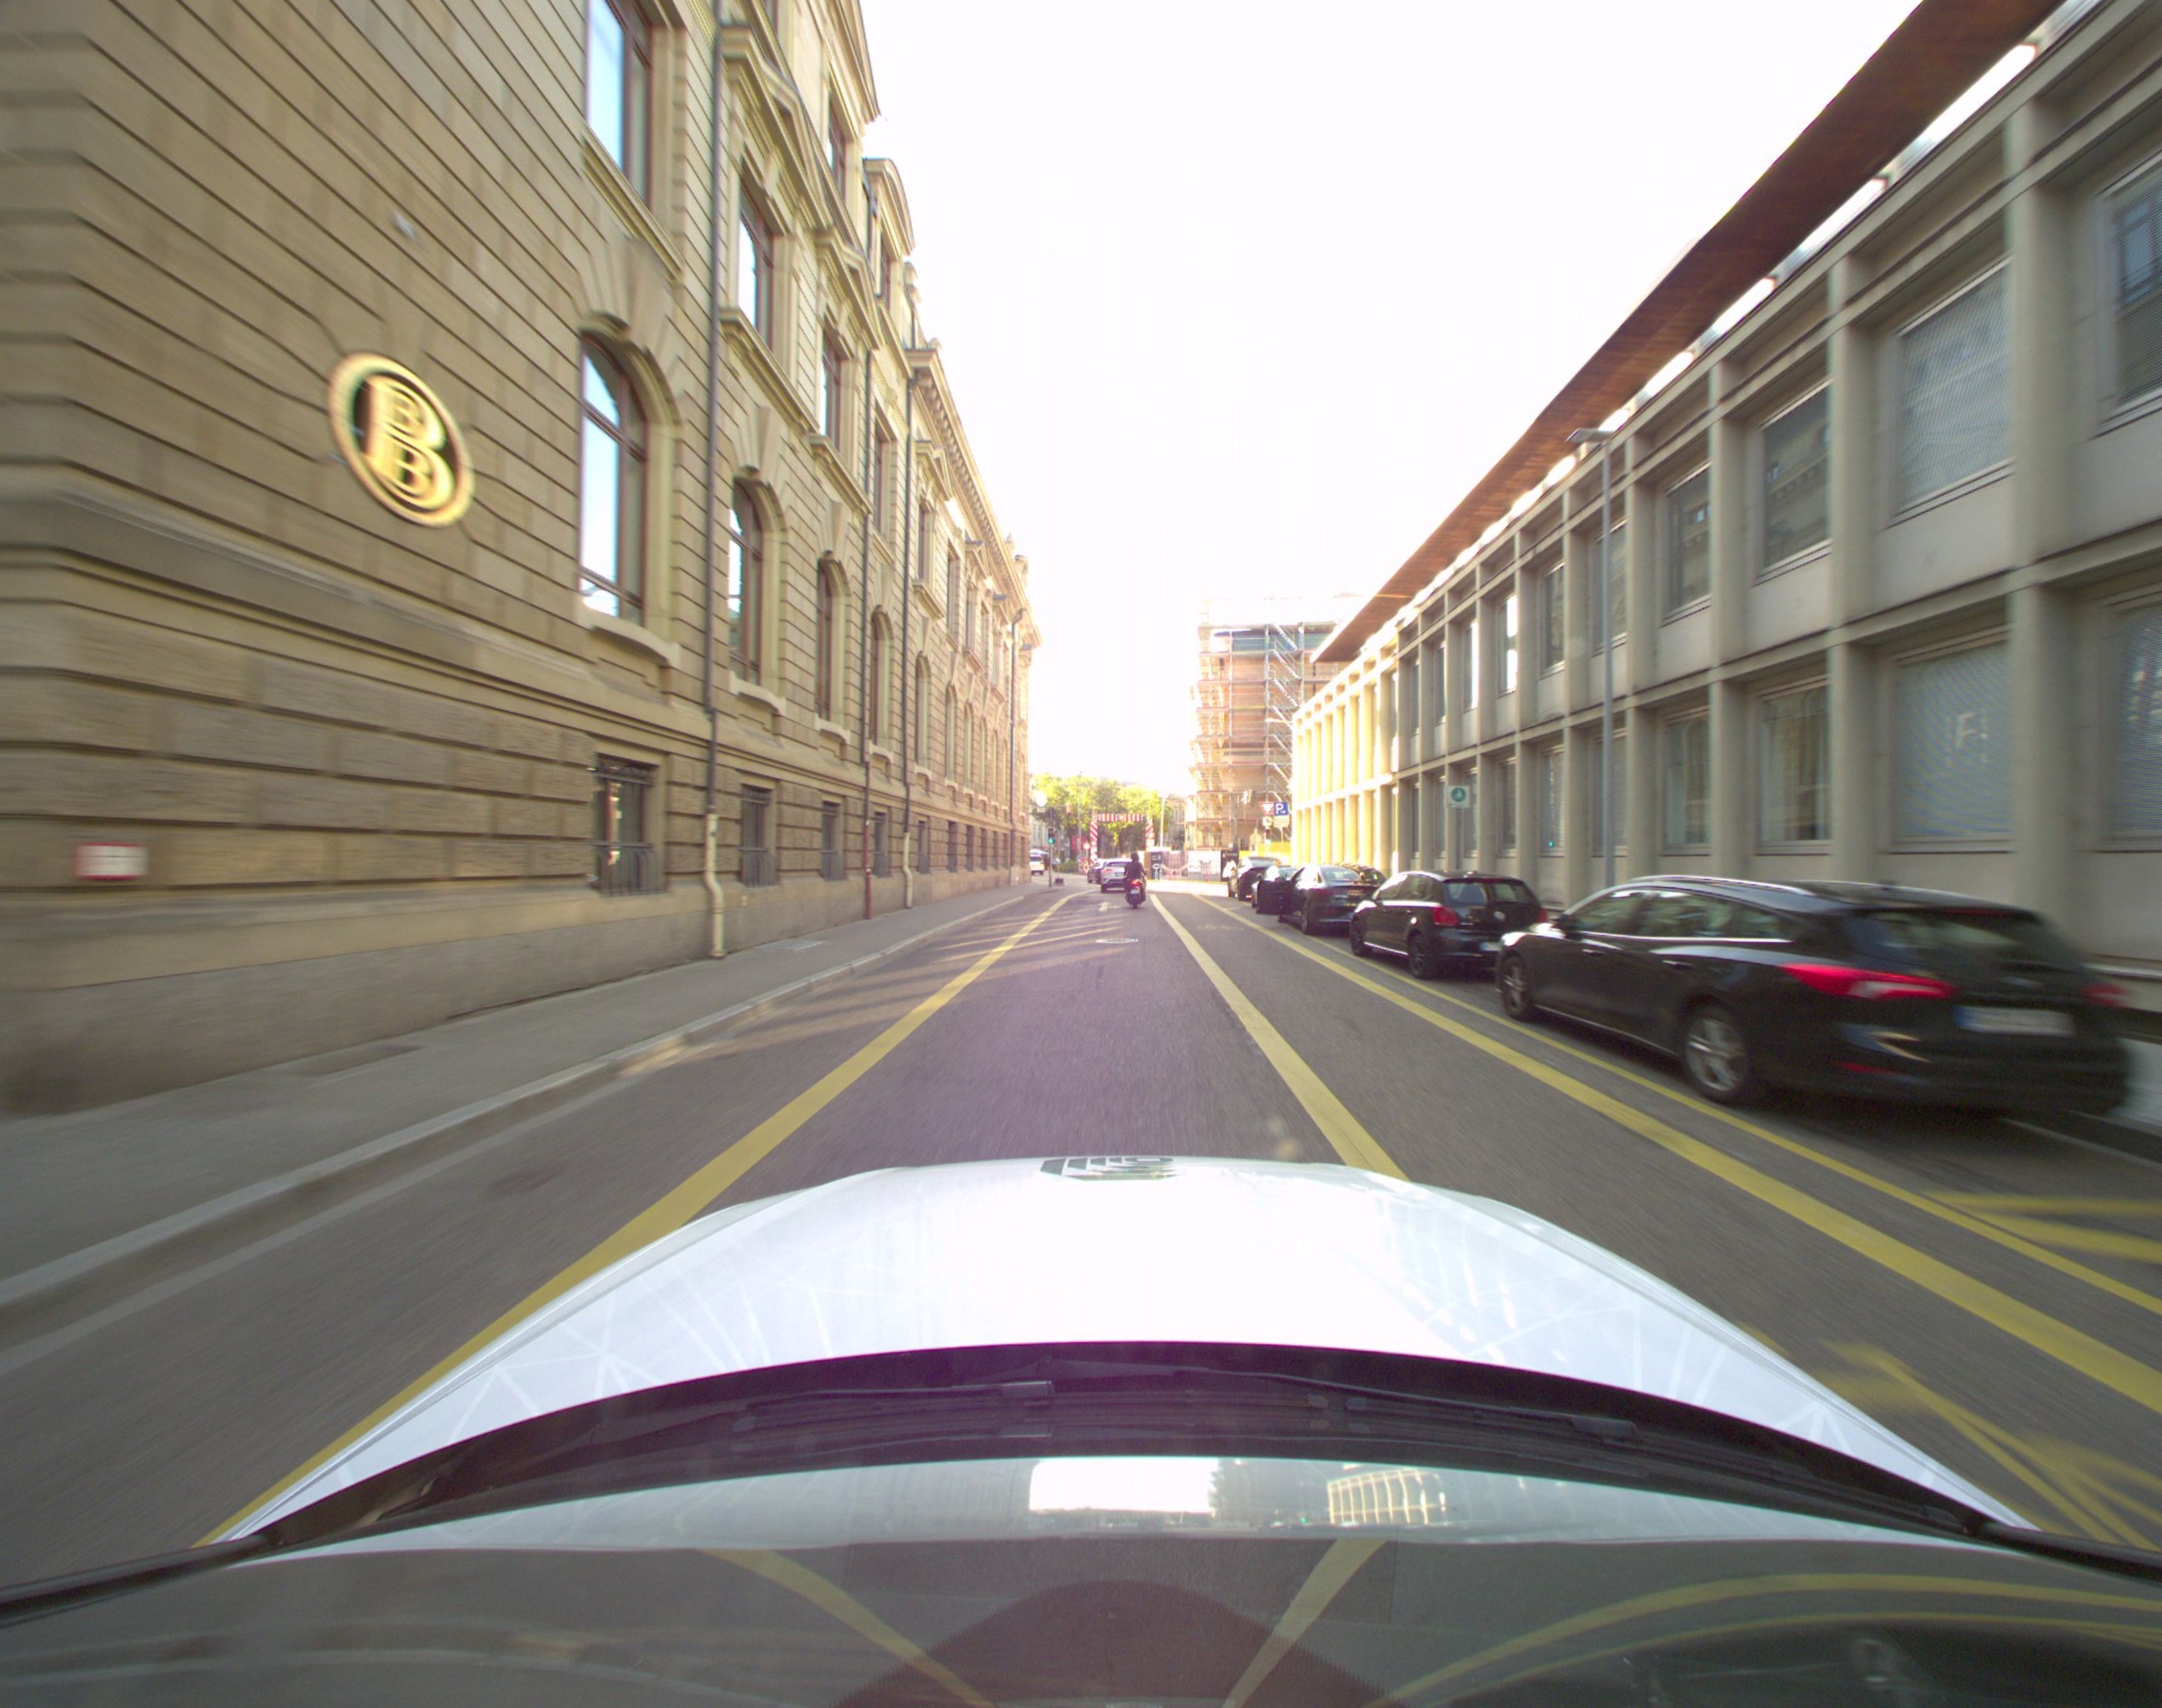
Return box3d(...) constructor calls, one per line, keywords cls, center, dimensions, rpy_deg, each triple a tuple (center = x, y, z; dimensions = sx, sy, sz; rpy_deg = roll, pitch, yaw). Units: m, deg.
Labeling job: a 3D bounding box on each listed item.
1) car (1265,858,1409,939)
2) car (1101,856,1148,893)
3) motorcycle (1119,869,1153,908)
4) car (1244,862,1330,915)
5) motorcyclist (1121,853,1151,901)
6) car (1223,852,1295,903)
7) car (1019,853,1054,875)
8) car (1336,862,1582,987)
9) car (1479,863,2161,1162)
box3d(cls="car", center=(5.462, 0.890, 18.029), dimensions=(1.817, 1.501, 4.738), rpy_deg=(1, -1, 2))
box3d(cls="car", center=(2.024, 0.889, 36.851), dimensions=(1.813, 1.542, 4.271), rpy_deg=(1, -1, 7))
box3d(cls="motorcycle", center=(1.656, 1.023, 24.664), dimensions=(0.870, 1.109, 1.838), rpy_deg=(-1, -1, -1))
box3d(cls="car", center=(6.144, 0.999, 24.767), dimensions=(1.816, 1.399, 4.485), rpy_deg=(1, -1, 5))
box3d(cls="motorcyclist", center=(1.654, 0.683, 24.677), dimensions=(0.865, 1.427, 0.455), rpy_deg=(0, -2, -2))
box3d(cls="car", center=(6.633, 0.808, 30.791), dimensions=(1.817, 1.699, 4.669), rpy_deg=(1, 0, 2))
box3d(cls="car", center=(-3.820, 0.829, 69.058), dimensions=(1.998, 1.664, 4.334), rpy_deg=(-3, 1, -16))
box3d(cls="car", center=(5.280, 0.899, 12.071), dimensions=(1.774, 1.479, 4.290), rpy_deg=(1, -1, 2))
box3d(cls="car", center=(5.030, 0.857, 6.426), dimensions=(1.775, 1.479, 4.291), rpy_deg=(1, 0, 2))
